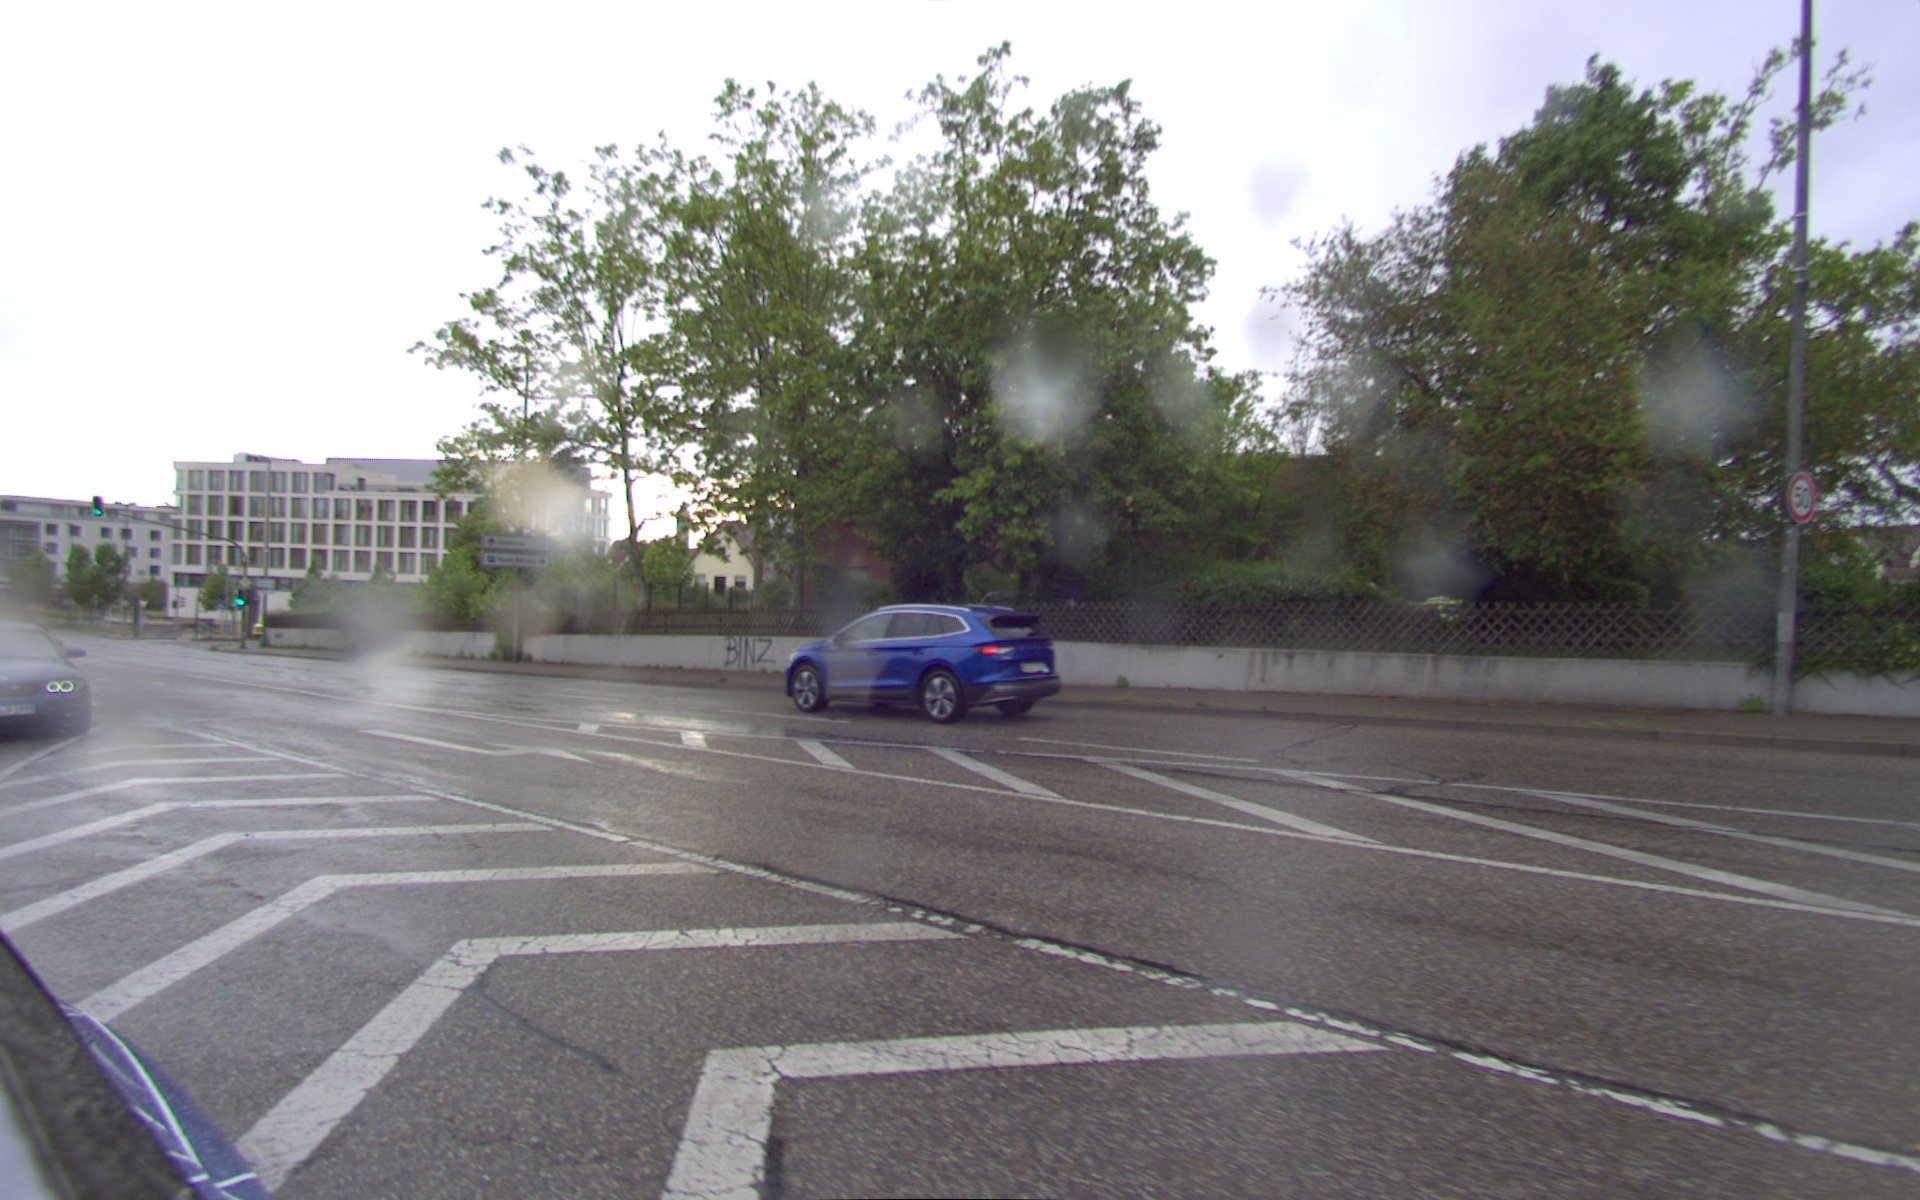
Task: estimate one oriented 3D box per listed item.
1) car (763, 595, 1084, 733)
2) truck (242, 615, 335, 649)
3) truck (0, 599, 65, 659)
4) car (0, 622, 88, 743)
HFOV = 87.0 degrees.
[{"bbox_3d":[-0.666,0.794,14.974,4.704,1.706,1.973,0,1,42],"label":"car"},{"bbox_3d":[-54.136,2.657,81.795,2.210,2.557,6.139,1,-2,18],"label":"truck"},{"bbox_3d":[-41.138,1.211,44.497,6.201,2.458,2.139,0,-1,44],"label":"truck"},{"bbox_3d":[-12.722,1.001,13.145,3.705,1.353,1.763,0,0,44],"label":"car"}]
